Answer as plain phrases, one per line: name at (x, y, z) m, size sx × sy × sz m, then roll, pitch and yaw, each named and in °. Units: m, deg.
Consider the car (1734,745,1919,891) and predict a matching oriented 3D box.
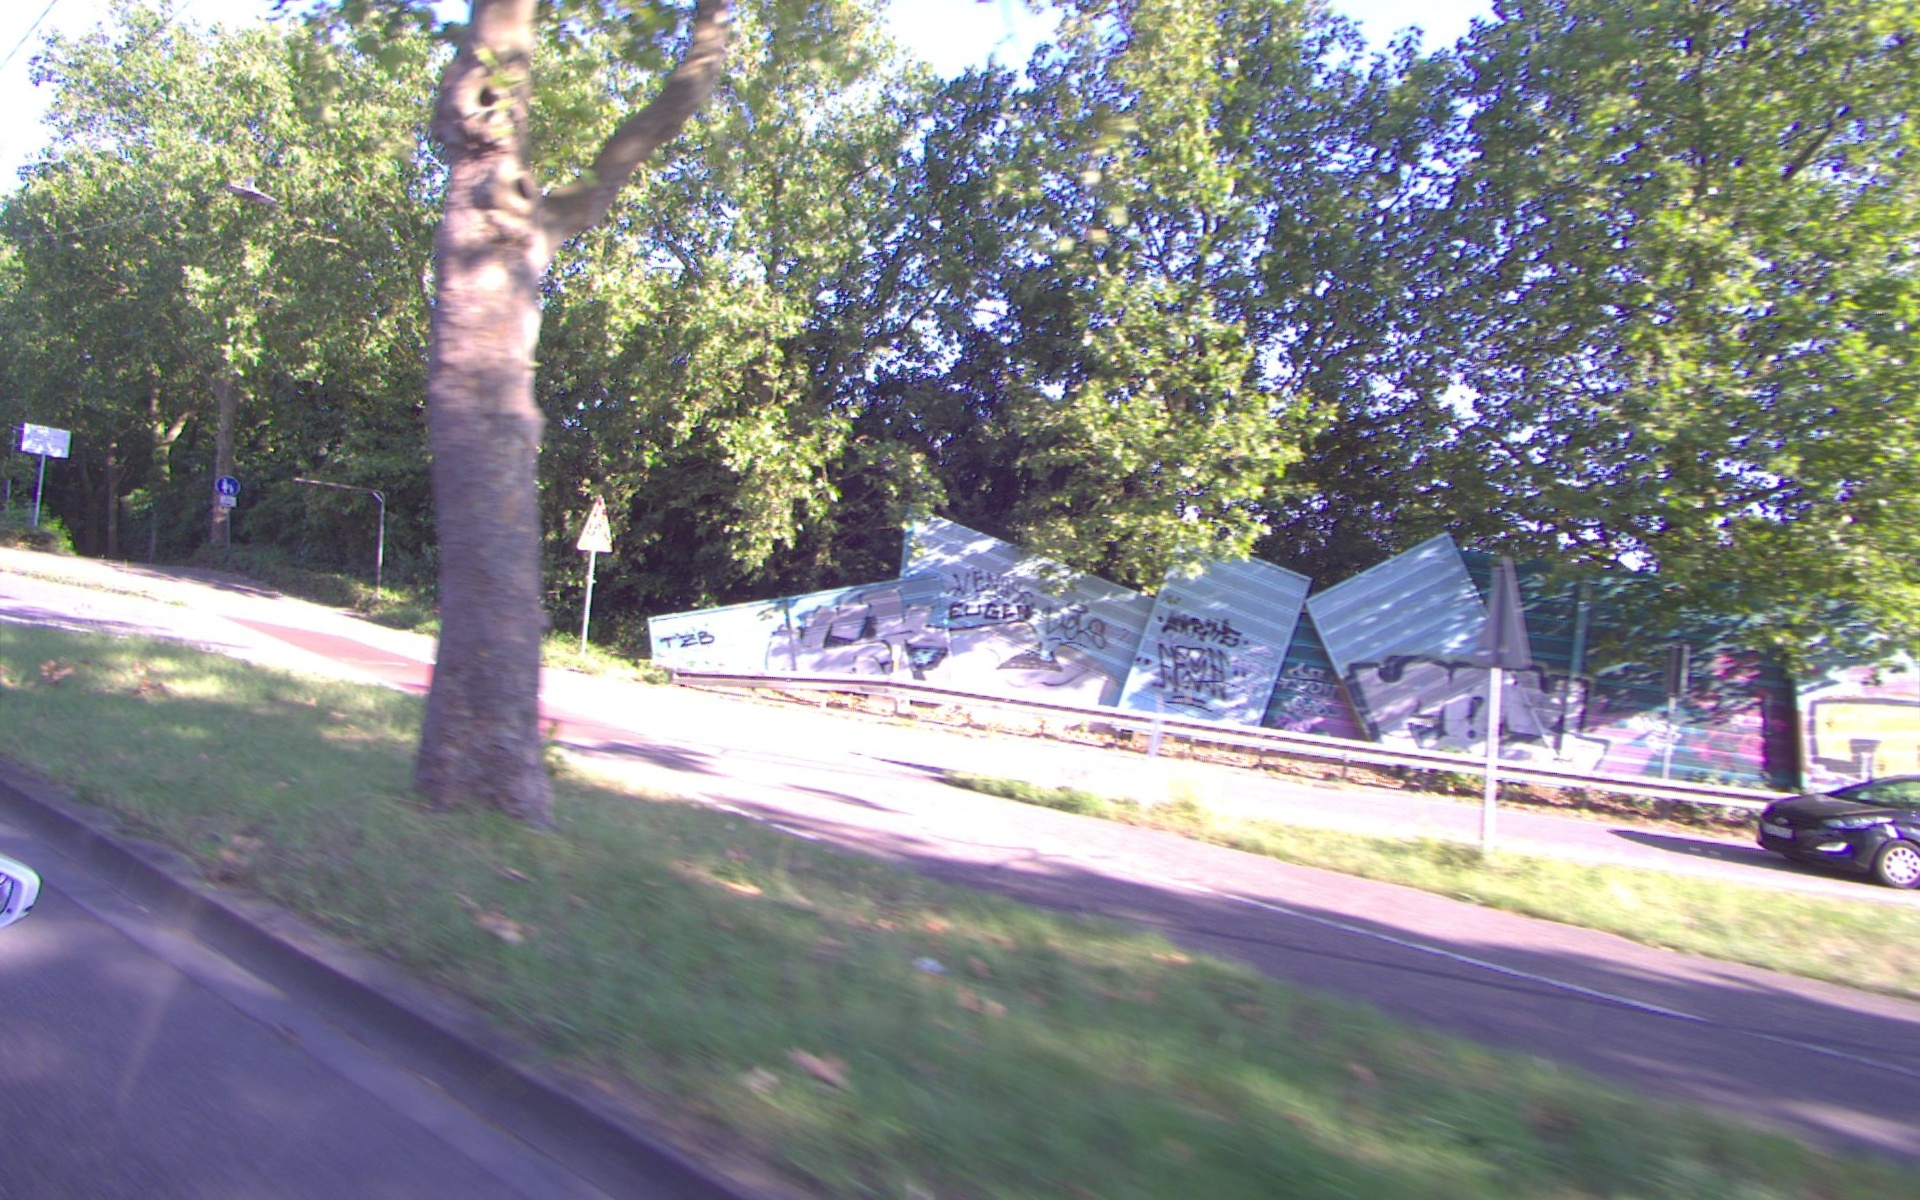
car at (12.851, 2.969, 12.944) m, size 4.143 × 1.457 × 1.800 m, roll 7°, pitch -1°, yaw 7°
